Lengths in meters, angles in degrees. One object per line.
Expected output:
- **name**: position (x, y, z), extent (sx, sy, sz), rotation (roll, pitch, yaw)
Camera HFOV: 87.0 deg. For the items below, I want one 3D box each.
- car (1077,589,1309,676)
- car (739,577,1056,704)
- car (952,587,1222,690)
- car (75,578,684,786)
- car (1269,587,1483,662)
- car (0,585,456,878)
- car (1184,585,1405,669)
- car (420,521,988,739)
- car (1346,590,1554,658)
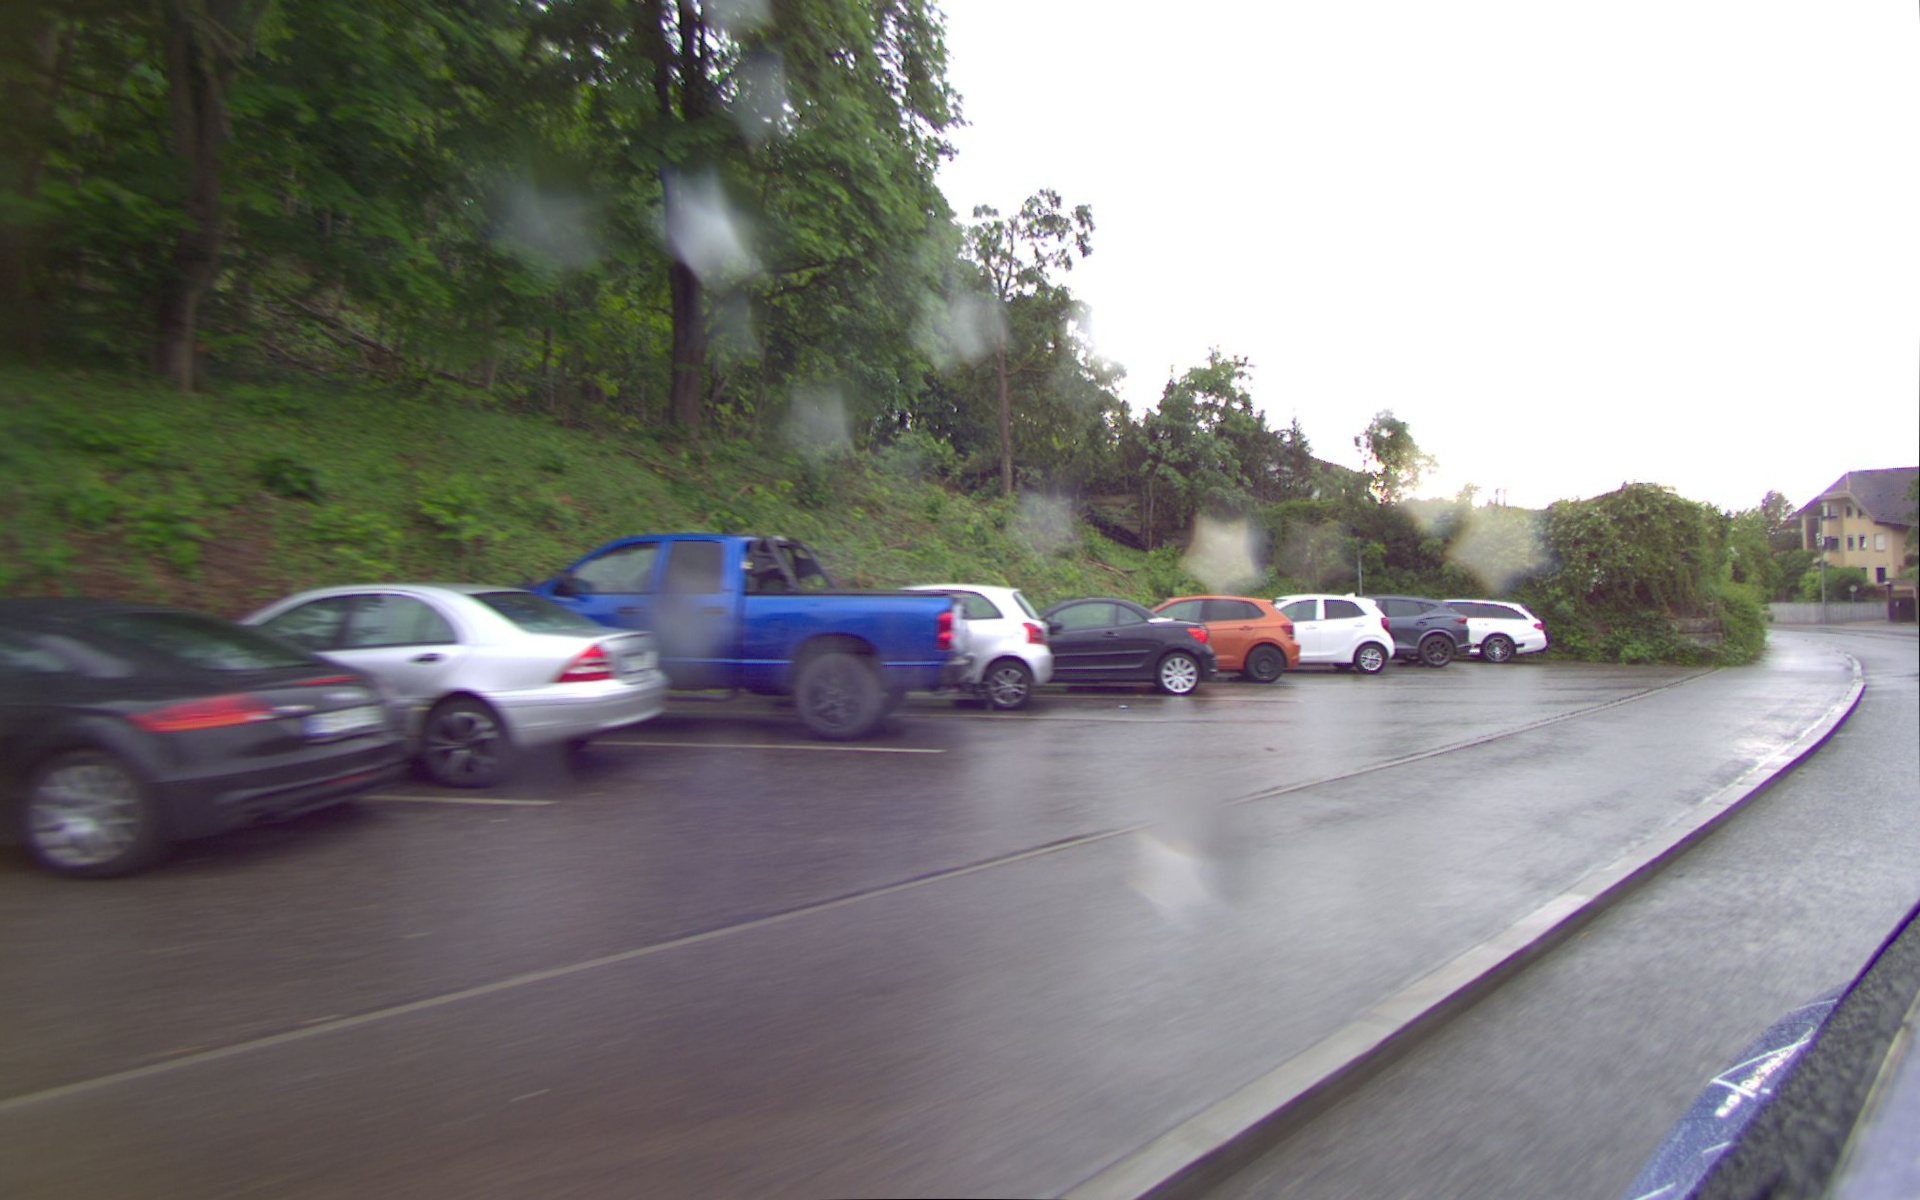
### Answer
- **car**: position (3.930, 0.518, 17.567), extent (3.729, 1.419, 1.714), rotation (0, 0, 7)
- **car**: position (-0.720, 0.470, 12.978), extent (3.843, 1.505, 1.617), rotation (0, 0, 5)
- **car**: position (1.839, 0.527, 15.129), extent (3.775, 1.419, 1.715), rotation (0, 0, 6)
- **car**: position (-4.347, 0.553, 7.930), extent (3.922, 1.431, 1.625), rotation (0, 0, 4)
- **car**: position (9.101, 0.504, 22.435), extent (4.022, 1.526, 1.749), rotation (1, 0, 8)
- **car**: position (-5.154, 0.599, 5.787), extent (3.729, 1.365, 1.759), rotation (0, 0, 6)
- **car**: position (6.443, 0.492, 19.804), extent (3.724, 1.498, 1.752), rotation (1, 0, 2)
- **car**: position (-2.488, 0.247, 10.745), extent (5.387, 1.994, 2.327), rotation (1, 0, 7)
- **car**: position (11.767, 0.533, 24.619), extent (4.255, 1.482, 1.803), rotation (1, 0, 16)
